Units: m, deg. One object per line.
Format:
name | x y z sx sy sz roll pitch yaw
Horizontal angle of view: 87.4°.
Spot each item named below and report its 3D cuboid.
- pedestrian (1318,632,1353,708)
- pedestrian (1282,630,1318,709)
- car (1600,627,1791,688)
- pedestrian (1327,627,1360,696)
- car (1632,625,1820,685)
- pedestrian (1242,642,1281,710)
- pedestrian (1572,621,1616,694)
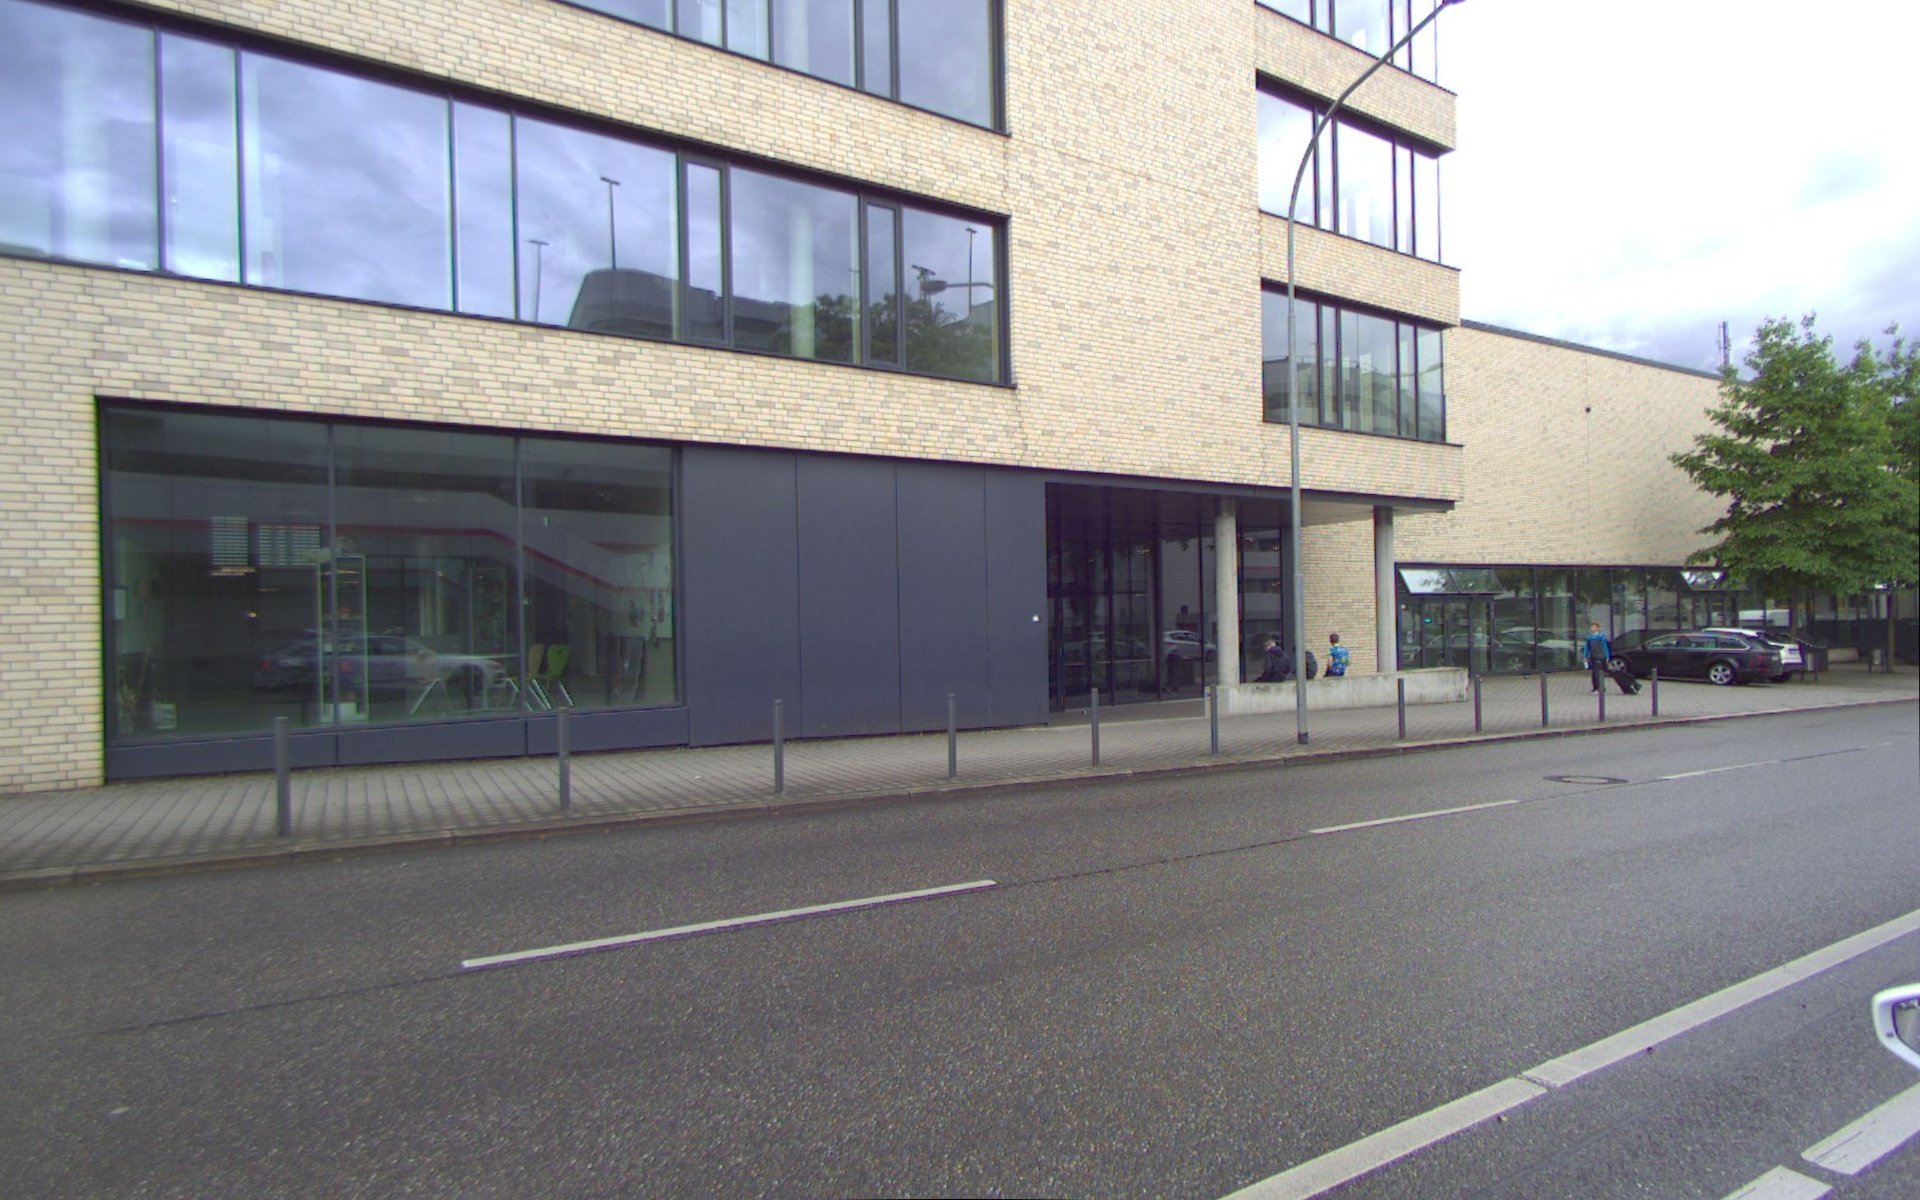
pedestrian | 7.540 1.402 20.191 0.459 1.495 0.446 2 0 -35
pedestrian | 6.602 1.343 19.520 0.459 1.495 0.446 2 0 -35
car | 21.592 1.641 29.624 1.981 1.515 4.147 2 0 -36
pedestrian | 8.565 1.369 22.427 0.523 1.495 0.438 2 0 -35
car | 23.469 1.636 30.932 1.975 1.568 4.159 2 0 -28
pedestrian | 5.701 1.424 19.015 0.416 1.231 0.546 2 0 -27
pedestrian | 15.658 1.411 24.803 0.696 1.737 0.632 2 0 -27
